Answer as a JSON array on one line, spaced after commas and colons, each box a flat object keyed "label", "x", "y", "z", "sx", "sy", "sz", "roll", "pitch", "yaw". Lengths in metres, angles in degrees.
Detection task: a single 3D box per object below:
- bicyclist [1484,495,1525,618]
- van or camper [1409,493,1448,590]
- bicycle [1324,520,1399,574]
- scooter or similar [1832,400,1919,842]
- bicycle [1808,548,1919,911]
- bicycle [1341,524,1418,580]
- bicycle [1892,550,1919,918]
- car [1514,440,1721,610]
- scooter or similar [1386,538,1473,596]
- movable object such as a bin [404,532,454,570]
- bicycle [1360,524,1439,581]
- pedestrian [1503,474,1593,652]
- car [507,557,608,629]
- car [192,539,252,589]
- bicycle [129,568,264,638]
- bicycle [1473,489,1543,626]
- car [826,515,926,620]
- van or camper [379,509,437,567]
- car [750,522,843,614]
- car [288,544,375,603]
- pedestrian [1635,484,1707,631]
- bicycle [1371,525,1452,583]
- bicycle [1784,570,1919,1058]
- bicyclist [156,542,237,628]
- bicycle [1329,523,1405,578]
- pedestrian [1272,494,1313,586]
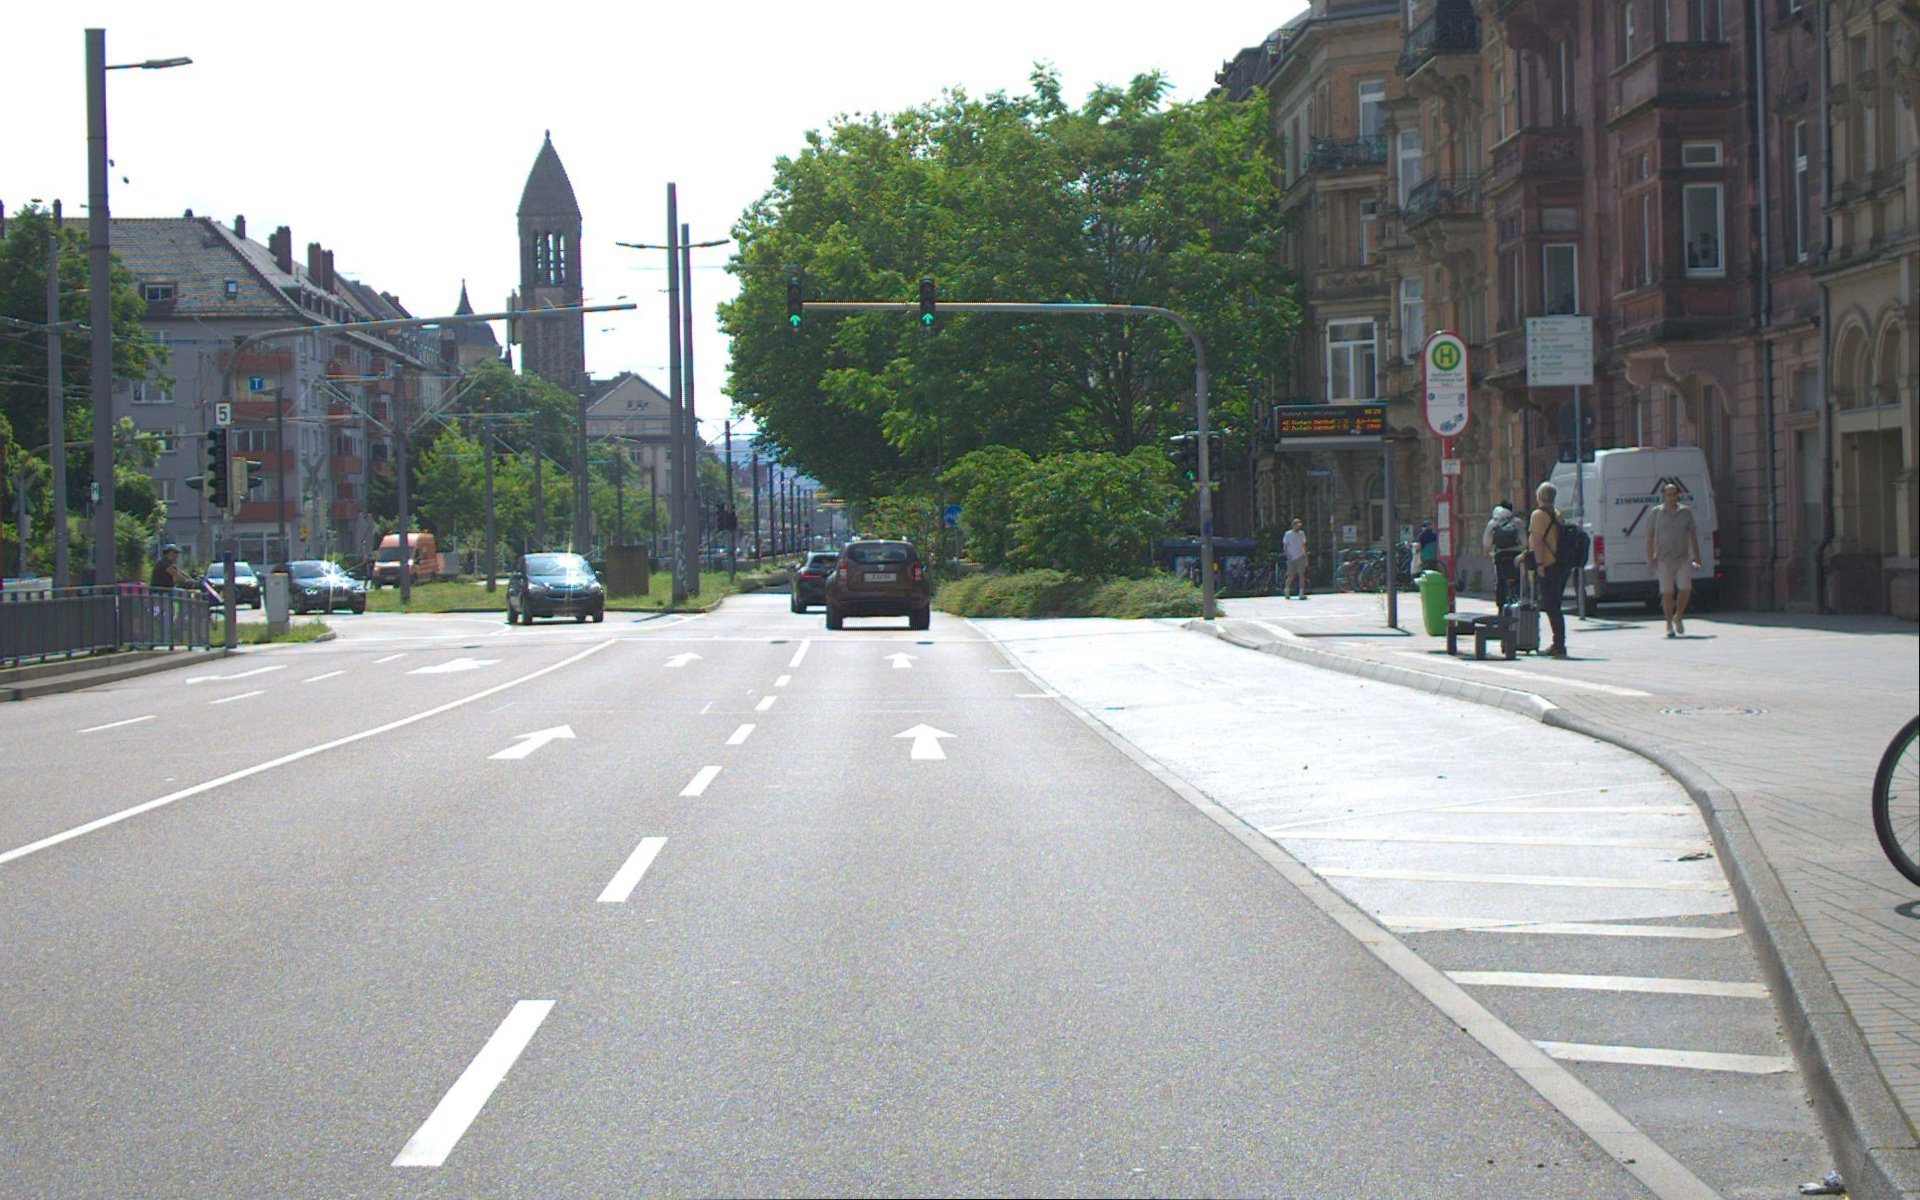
[{"label": "bicyclist", "x": 7.797, "y": -0.627, "z": 49.253, "sx": 0.427, "sy": 1.712, "sz": 0.828, "roll": -1, "pitch": 3, "yaw": 0}, {"label": "van or camper", "x": 9.903, "y": -1.236, "z": 72.662, "sx": 0.666, "sy": 2.007, "sz": 0.638, "roll": -2, "pitch": 1, "yaw": -1}, {"label": "bicycle", "x": 9.718, "y": -1.279, "z": 83.188, "sx": 1.769, "sy": 1.263, "sz": 0.466, "roll": -1, "pitch": 3, "yaw": 2}, {"label": "scooter or similar", "x": 4.074, "y": 0.083, "z": 13.796, "sx": 0.397, "sy": 1.780, "sz": 1.538, "roll": -2, "pitch": 1, "yaw": -14}, {"label": "bicycle", "x": 4.057, "y": 0.422, "z": 12.321, "sx": 1.978, "sy": 1.233, "sz": 0.441, "roll": -2, "pitch": 3, "yaw": -12}, {"label": "bicycle", "x": 9.863, "y": -1.132, "z": 80.828, "sx": 1.769, "sy": 1.263, "sz": 0.466, "roll": -1, "pitch": 3, "yaw": 2}, {"label": "bicycle", "x": 4.175, "y": 0.431, "z": 11.757, "sx": 1.923, "sy": 1.233, "sz": 0.441, "roll": -2, "pitch": 3, "yaw": -13}, {"label": "car", "x": 10.315, "y": -1.182, "z": 54.373, "sx": 1.993, "sy": 2.517, "sz": 5.889, "roll": -1, "pitch": 1, "yaw": -1}, {"label": "scooter or similar", "x": 10.289, "y": -0.717, "z": 75.336, "sx": 1.769, "sy": 1.181, "sz": 0.466, "roll": -3, "pitch": 0, "yaw": -1}, {"label": "movable object such as a bin", "x": -26.656, "y": -2.471, "z": 172.647, "sx": 2.206, "sy": 1.688, "sz": 3.718, "roll": -1, "pitch": 3, "yaw": -5}, {"label": "bicycle", "x": 10.042, "y": -1.094, "z": 78.581, "sx": 1.746, "sy": 1.263, "sz": 0.466, "roll": -1, "pitch": 3, "yaw": 2}, {"label": "pedestrian", "x": 6.373, "y": -0.402, "z": 37.262, "sx": 0.662, "sy": 1.896, "sz": 0.695, "roll": -2, "pitch": 1, "yaw": -19}, {"label": "car", "x": -8.455, "y": -0.172, "z": 72.455, "sx": 1.915, "sy": 1.412, "sz": 3.742, "roll": -1, "pitch": 1, "yaw": -4}, {"label": "car", "x": -23.409, "y": -1.153, "z": 109.141, "sx": 1.798, "sy": 1.546, "sz": 4.297, "roll": -1, "pitch": 1, "yaw": -12}, {"label": "bicycle", "x": -12.998, "y": 0.051, "z": 58.544, "sx": 2.019, "sy": 1.122, "sz": 0.931, "roll": -1, "pitch": 1, "yaw": 9}, {"label": "bicycle", "x": 7.845, "y": -0.617, "z": 49.282, "sx": 0.683, "sy": 1.919, "sz": 1.590, "roll": -2, "pitch": 1, "yaw": 0}, {"label": "car", "x": -1.566, "y": -0.619, "z": 62.786, "sx": 1.688, "sy": 1.705, "sz": 3.610, "roll": -1, "pitch": 3, "yaw": -3}, {"label": "van or camper", "x": -26.618, "y": -2.973, "z": 165.905, "sx": 2.255, "sy": 2.728, "sz": 6.204, "roll": -1, "pitch": 1, "yaw": -5}, {"label": "car", "x": -3.813, "y": -0.754, "z": 79.793, "sx": 1.993, "sy": 2.007, "sz": 4.001, "roll": -2, "pitch": 1, "yaw": -4}, {"label": "car", "x": -17.356, "y": -0.751, "z": 95.125, "sx": 1.817, "sy": 1.546, "sz": 4.561, "roll": -1, "pitch": 1, "yaw": -4}, {"label": "pedestrian", "x": 8.975, "y": -0.538, "z": 43.400, "sx": 0.662, "sy": 1.830, "sz": 0.695, "roll": -2, "pitch": 1, "yaw": -7}, {"label": "bicycle", "x": 10.235, "y": -1.053, "z": 77.999, "sx": 1.769, "sy": 1.263, "sz": 0.466, "roll": -1, "pitch": 3, "yaw": 2}, {"label": "bicycle", "x": 3.218, "y": 0.528, "z": 9.314, "sx": 1.923, "sy": 1.233, "sz": 0.441, "roll": -2, "pitch": 3, "yaw": -14}, {"label": "bicyclist", "x": -13.008, "y": -0.263, "z": 58.593, "sx": 1.089, "sy": 1.431, "sz": 0.824, "roll": -1, "pitch": 1, "yaw": 9}, {"label": "bicycle", "x": 9.760, "y": -1.188, "z": 82.408, "sx": 1.769, "sy": 1.263, "sz": 0.466, "roll": -1, "pitch": 3, "yaw": 2}, {"label": "pedestrian", "x": 7.366, "y": -1.320, "z": 76.163, "sx": 0.768, "sy": 2.007, "sz": 0.715, "roll": -2, "pitch": 1, "yaw": 0}]
